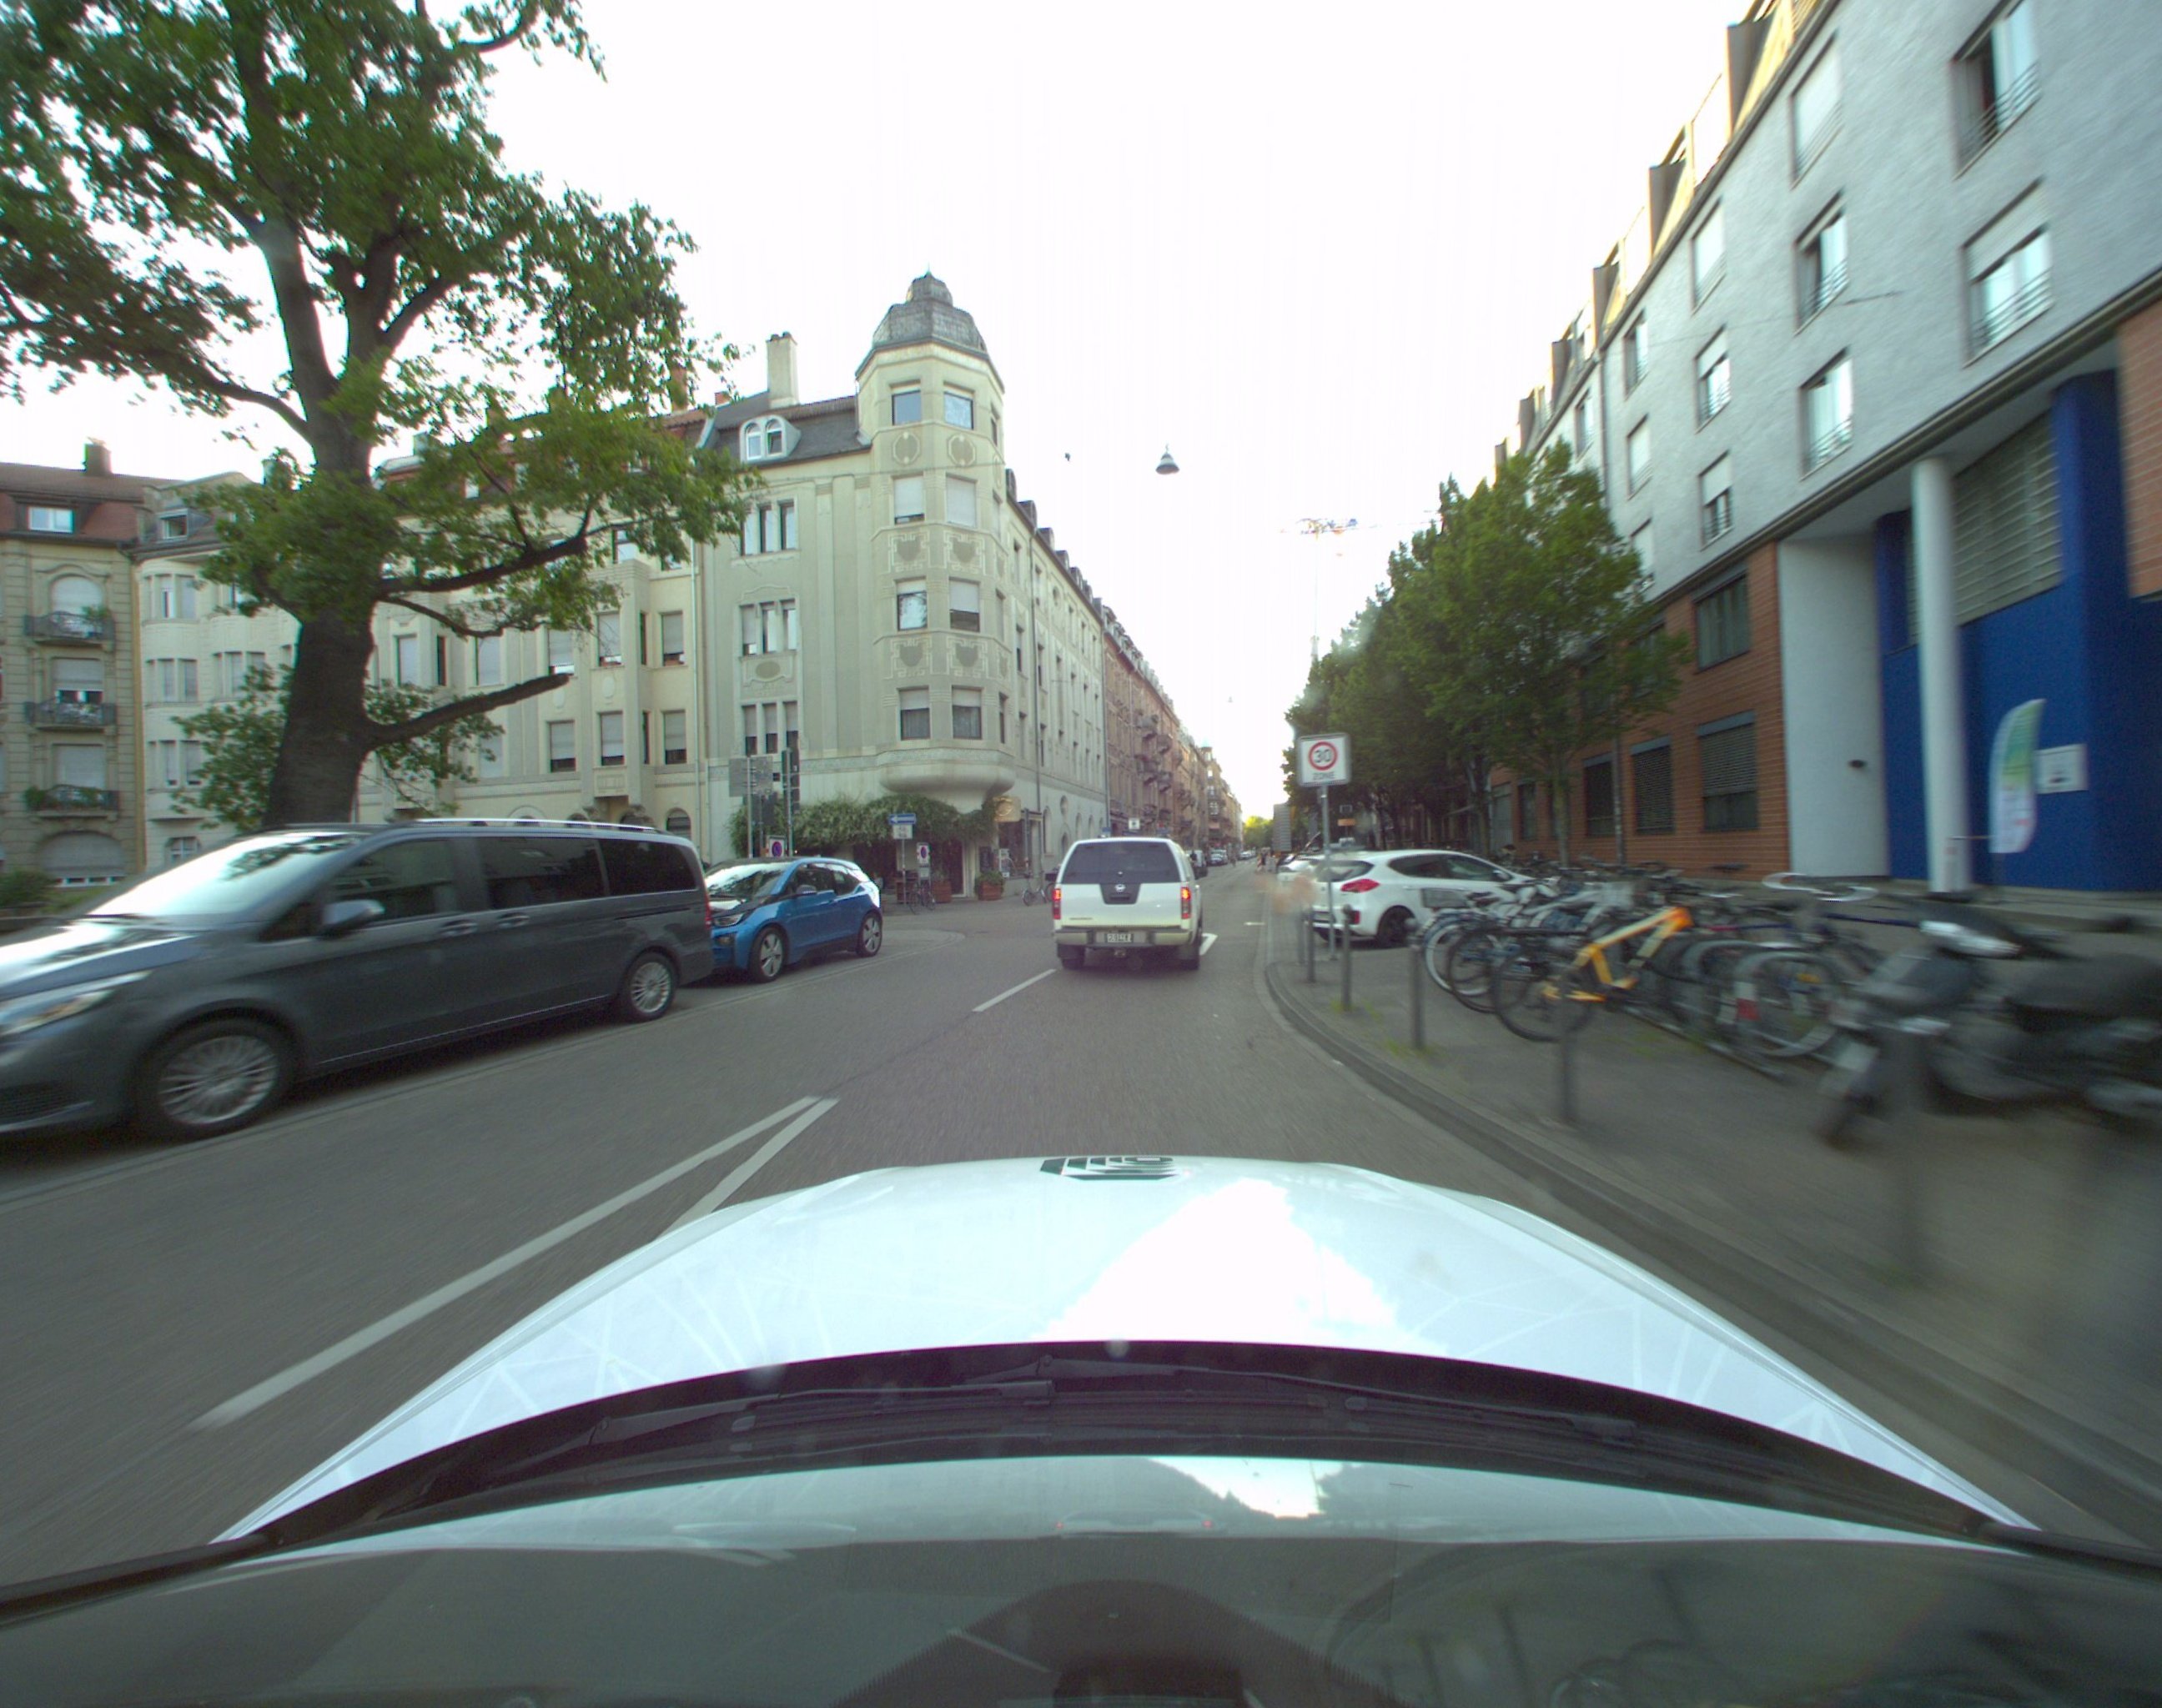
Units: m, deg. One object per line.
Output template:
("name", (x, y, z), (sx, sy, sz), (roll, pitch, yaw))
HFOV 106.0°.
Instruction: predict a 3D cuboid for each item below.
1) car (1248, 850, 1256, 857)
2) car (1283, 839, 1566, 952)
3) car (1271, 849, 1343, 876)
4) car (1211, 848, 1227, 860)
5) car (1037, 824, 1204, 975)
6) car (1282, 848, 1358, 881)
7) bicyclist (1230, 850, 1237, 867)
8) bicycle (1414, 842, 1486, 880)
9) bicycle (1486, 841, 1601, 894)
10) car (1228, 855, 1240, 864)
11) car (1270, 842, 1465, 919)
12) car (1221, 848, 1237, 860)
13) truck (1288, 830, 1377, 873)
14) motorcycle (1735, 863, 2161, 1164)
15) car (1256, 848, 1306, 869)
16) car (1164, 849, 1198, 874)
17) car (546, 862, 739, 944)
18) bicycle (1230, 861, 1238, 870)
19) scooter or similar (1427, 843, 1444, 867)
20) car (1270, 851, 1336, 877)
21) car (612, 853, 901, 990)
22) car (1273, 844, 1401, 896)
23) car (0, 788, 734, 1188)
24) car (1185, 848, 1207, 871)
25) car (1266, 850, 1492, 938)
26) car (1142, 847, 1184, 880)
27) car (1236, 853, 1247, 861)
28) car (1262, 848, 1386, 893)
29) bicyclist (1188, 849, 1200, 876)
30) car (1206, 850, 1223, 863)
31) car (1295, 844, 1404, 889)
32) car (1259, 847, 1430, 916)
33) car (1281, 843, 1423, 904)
("car", (44.249, -0.058, 210.572), (1.979, 1.784, 4.015), (-2, 0, 14))
("car", (5.519, 0.607, 13.215), (3.996, 1.506, 1.760), (-2, -1, -17))
("car", (13.570, 0.505, 48.909), (3.840, 1.437, 1.750), (-3, 0, -22))
("car", (17.697, -0.008, 104.232), (1.698, 1.530, 4.014), (-1, 0, 13))
("car", (0.804, 0.592, 12.126), (1.922, 1.794, 4.633), (-1, -1, 9))
("car", (12.518, 0.541, 42.753), (3.406, 1.474, 1.764), (-4, 0, -18))
("bicyclist", (17.013, 0.500, 90.836), (0.795, 1.849, 0.946), (-1, 0, 11))
("bicycle", (14.691, 0.281, 32.519), (2.515, 1.379, 0.602), (-2, -1, 15))
("bicycle", (11.588, 0.345, 20.477), (2.329, 1.099, 0.683), (-6, -1, 15))
("car", (28.123, 0.929, 149.761), (1.833, 1.552, 4.373), (-2, 0, 15))
("car", (6.614, 0.599, 18.881), (3.998, 1.523, 1.699), (-2, -2, -18))
("car", (22.205, 0.030, 122.020), (1.979, 1.784, 4.235), (-2, 0, 14))
("truck", (18.819, -0.120, 61.242), (6.275, 2.977, 2.272), (-1, -3, 14))
("motorcycle", (4.027, 0.653, 3.600), (1.637, 1.101, 0.648), (-4, -1, 4))
("car", (17.795, 0.436, 72.550), (4.161, 1.780, 1.828), (-1, 0, 18))
("car", (7.244, 0.519, 58.726), (1.980, 1.653, 4.014), (-2, 0, 13))
("car", (-10.874, 1.203, 20.263), (3.956, 1.844, 1.899), (-2, -1, 16))
("bicycle", (17.059, 1.271, 90.910), (0.795, 0.947, 2.011), (-1, 0, 11))
("scooter or similar", (18.486, 0.051, 42.448), (0.365, 1.218, 1.715), (-6, -2, 37))
("car", (13.955, 0.590, 51.120), (3.902, 1.530, 1.623), (-1, 0, -27))
("car", (-4.253, 0.791, 11.429), (1.628, 1.555, 4.020), (-2, 0, 15))
("car", (8.276, 0.516, 26.411), (3.600, 1.482, 1.714), (-2, -1, -15))
("car", (-5.401, 0.642, 6.480), (1.979, 1.866, 5.310), (-2, 0, 14))
("car", (9.932, 0.433, 70.026), (1.549, 1.921, 3.869), (0, 0, 12))
("car", (6.007, 0.762, 16.482), (4.001, 1.473, 1.863), (-2, -2, -20))
("car", (5.215, 0.583, 51.131), (1.891, 1.925, 4.965), (-1, 0, 14))
("car", (32.570, 0.541, 165.104), (1.833, 1.552, 4.374), (-2, 0, 16))
("car", (9.380, 0.620, 31.482), (4.388, 1.534, 1.795), (-2, -1, -20))
("bicyclist", (7.233, 0.516, 52.188), (0.598, 1.685, 1.147), (-2, -1, 13))
("car", (16.135, 0.290, 98.405), (1.779, 1.530, 4.015), (-1, 0, 13))
("car", (11.404, 0.519, 34.692), (3.983, 1.636, 1.754), (-3, 0, -7))
("car", (6.778, 0.663, 21.010), (3.998, 1.537, 1.626), (-2, 0, -18))
("car", (7.860, 0.542, 23.691), (3.606, 1.580, 1.704), (-2, -1, -20))
